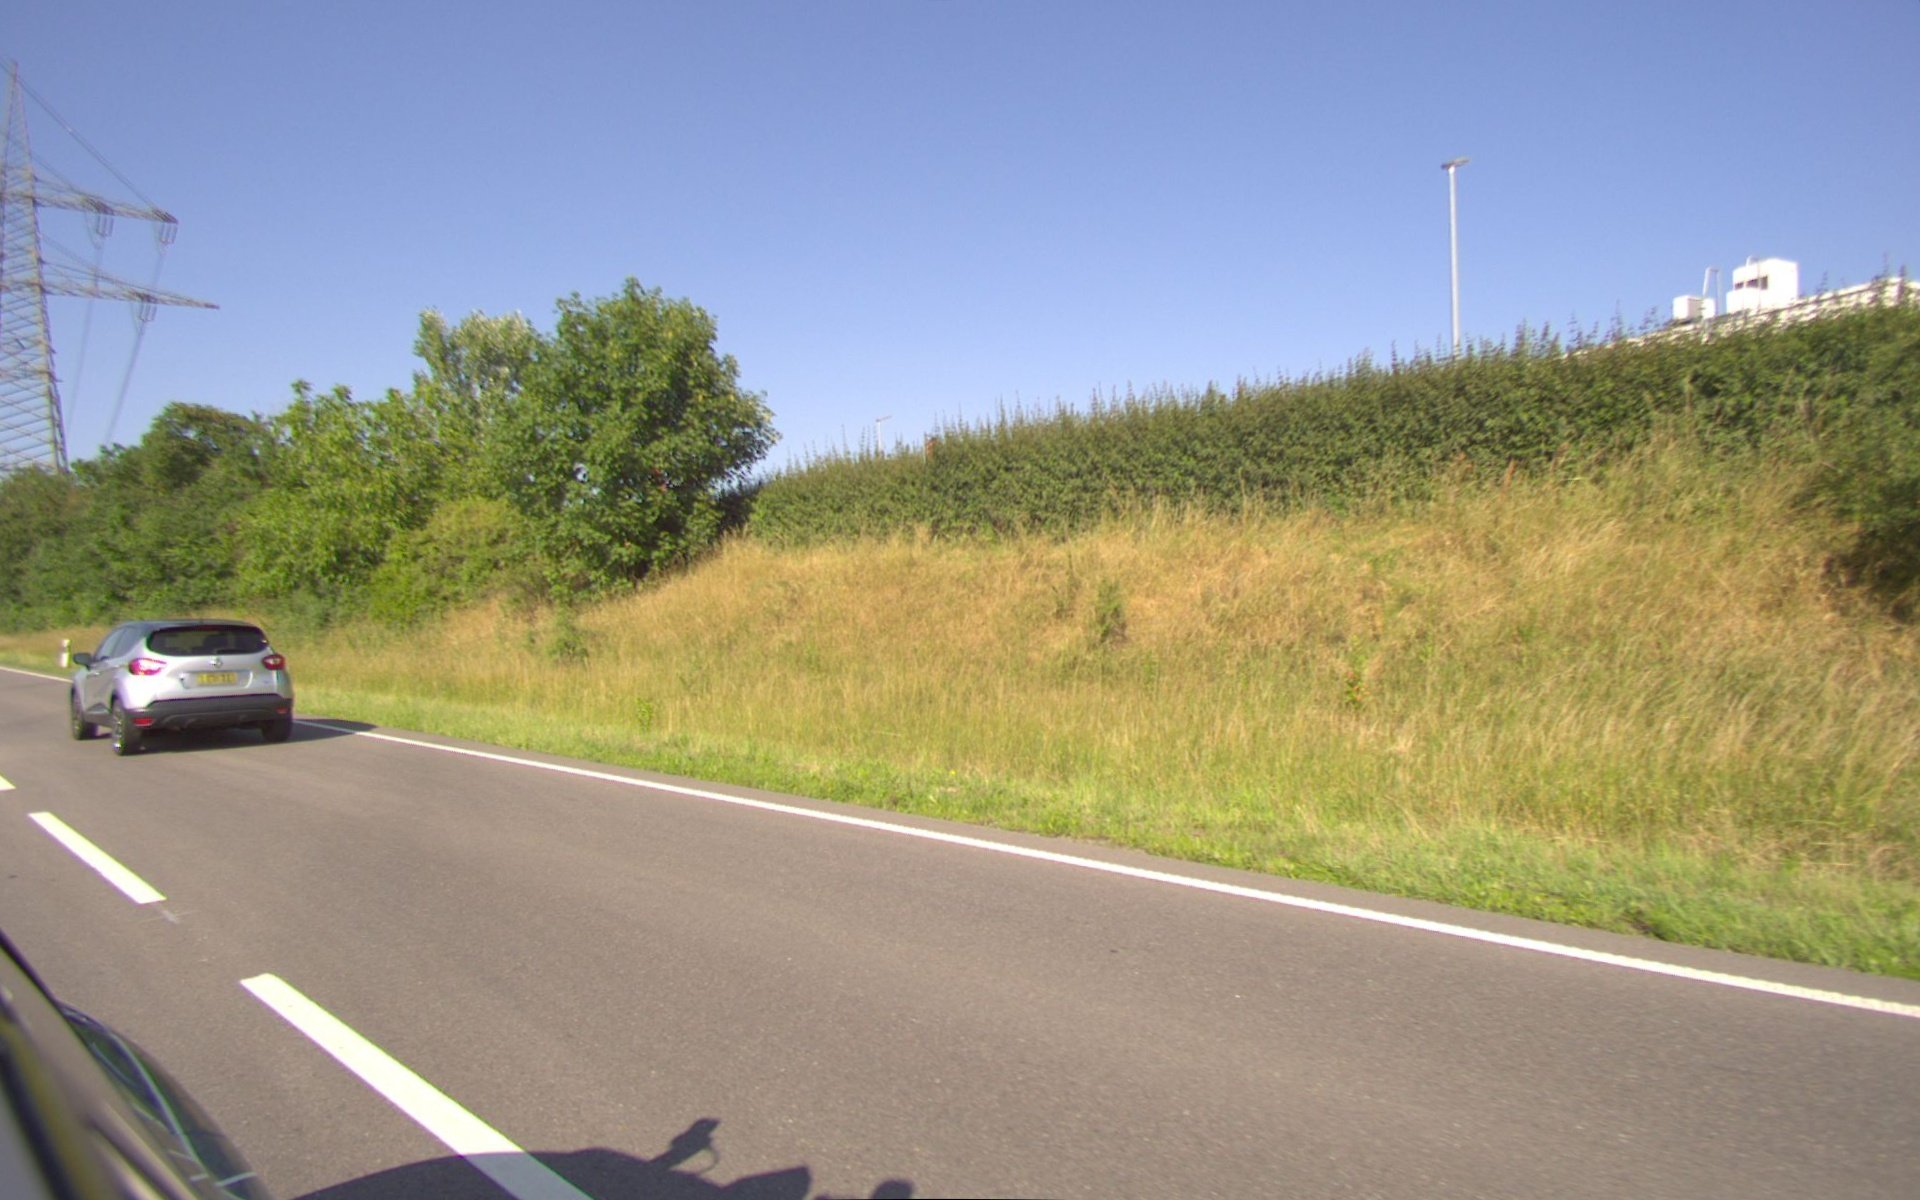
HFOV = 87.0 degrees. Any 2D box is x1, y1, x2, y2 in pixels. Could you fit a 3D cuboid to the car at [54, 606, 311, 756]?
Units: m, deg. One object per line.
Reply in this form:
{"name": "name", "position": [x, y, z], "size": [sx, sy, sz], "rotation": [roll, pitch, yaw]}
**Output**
{"name": "car", "position": [-10.004, 0.912, 12.923], "size": [3.996, 1.605, 1.778], "rotation": [-1, -1, 40]}
